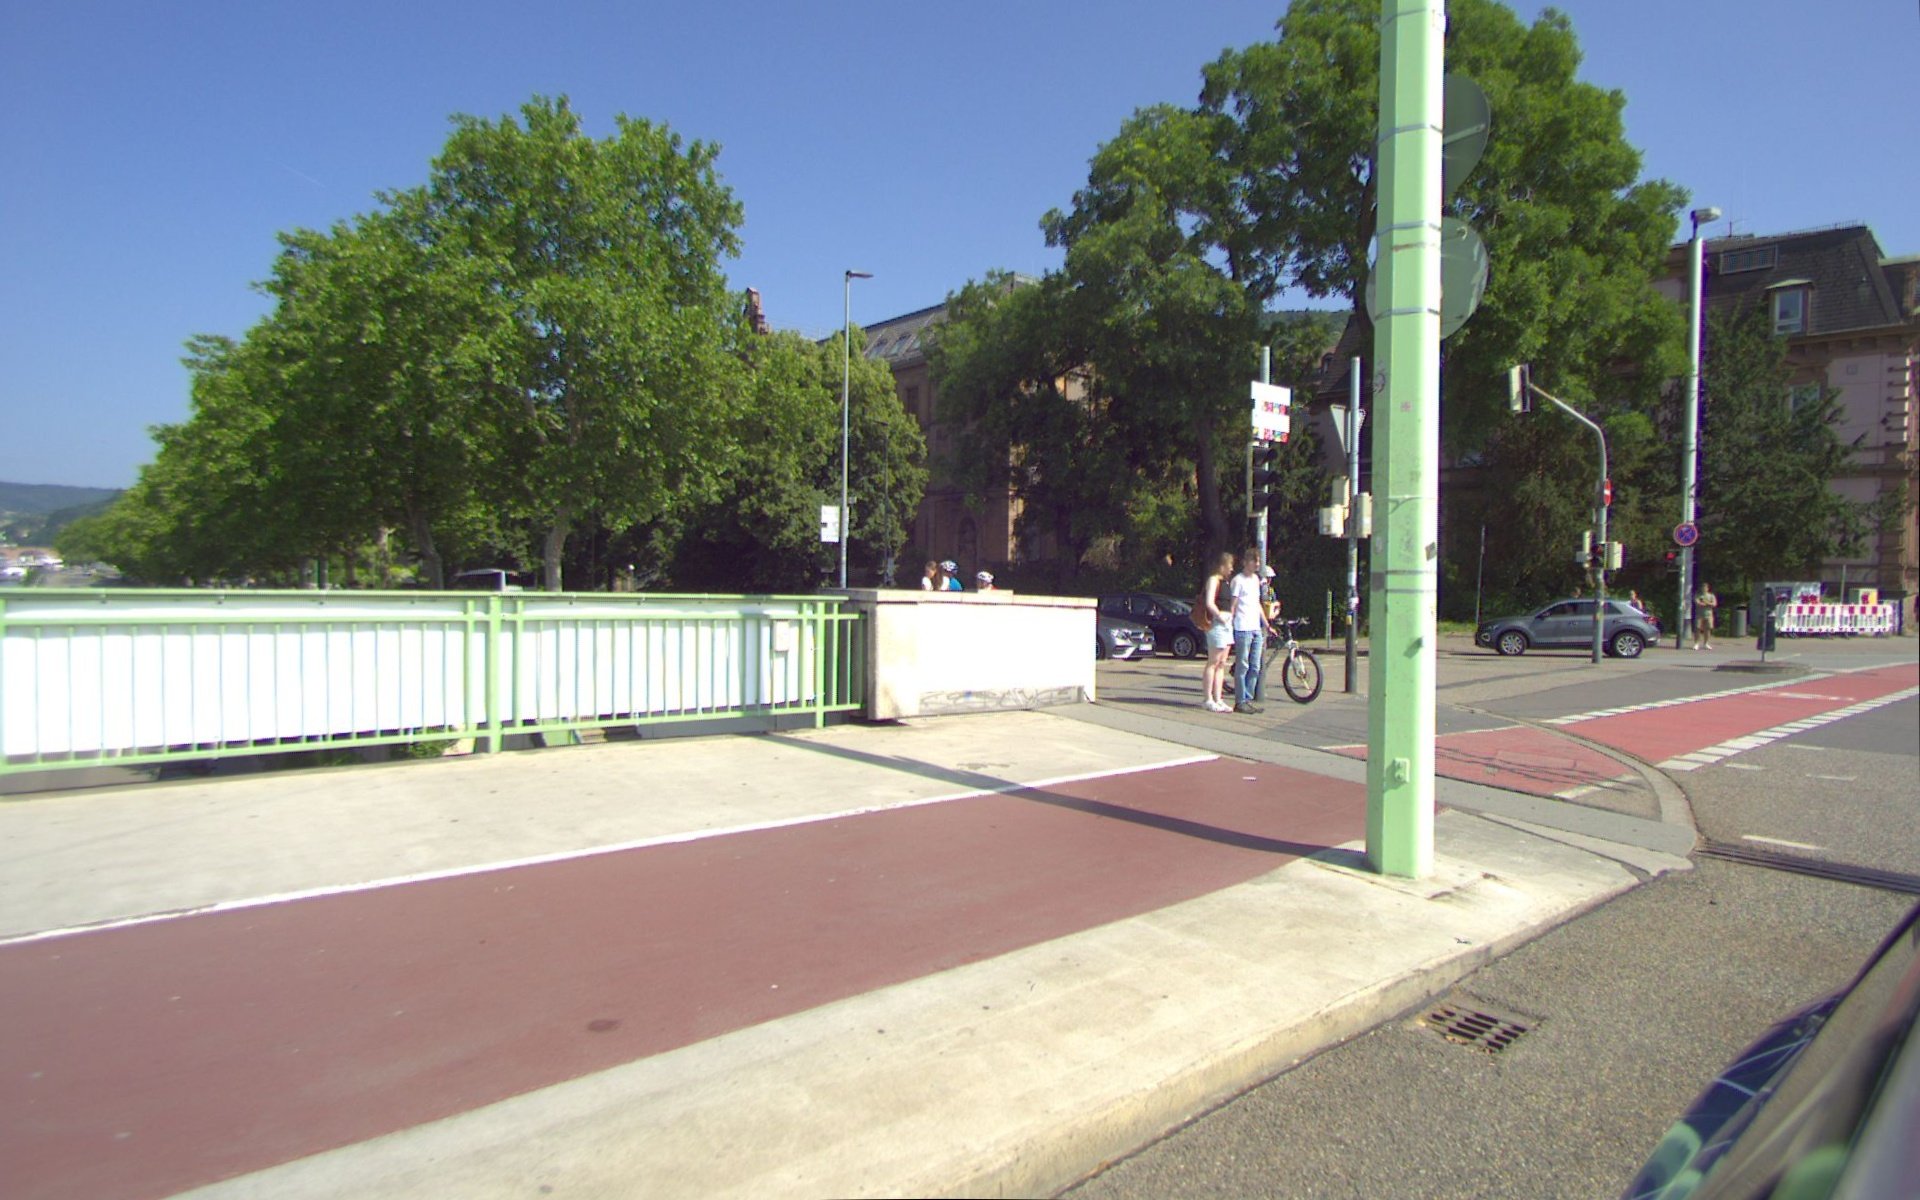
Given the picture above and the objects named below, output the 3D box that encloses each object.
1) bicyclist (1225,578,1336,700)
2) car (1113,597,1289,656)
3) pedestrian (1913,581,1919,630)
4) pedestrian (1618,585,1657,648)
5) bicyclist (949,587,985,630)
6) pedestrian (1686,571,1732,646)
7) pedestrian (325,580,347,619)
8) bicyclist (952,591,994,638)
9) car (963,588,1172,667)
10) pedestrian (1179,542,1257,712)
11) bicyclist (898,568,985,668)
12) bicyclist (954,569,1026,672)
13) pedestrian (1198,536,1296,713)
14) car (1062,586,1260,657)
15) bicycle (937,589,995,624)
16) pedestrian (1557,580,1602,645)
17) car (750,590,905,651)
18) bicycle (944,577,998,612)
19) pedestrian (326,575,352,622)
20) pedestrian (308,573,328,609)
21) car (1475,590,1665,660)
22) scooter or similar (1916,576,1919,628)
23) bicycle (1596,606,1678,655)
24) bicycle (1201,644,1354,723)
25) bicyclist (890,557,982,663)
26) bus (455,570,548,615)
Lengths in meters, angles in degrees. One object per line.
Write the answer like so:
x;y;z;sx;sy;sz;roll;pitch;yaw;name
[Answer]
4.112;0.477;13.025;0.785;1.492;1.083;2;0;-35;bicyclist
6.469;0.676;27.496;4.302;1.375;1.852;2;0;44;car
36.466;0.248;38.029;0.812;1.814;0.802;7;4;45;pedestrian
19.301;0.448;28.823;0.878;1.731;0.675;1;2;-43;pedestrian
0.254;0.307;37.903;1.054;1.573;0.767;3;1;37;bicyclist
21.081;0.227;28.480;1.042;2.038;0.775;1;2;-45;pedestrian
-29.226;-0.017;47.413;0.740;1.797;0.666;2;0;45;pedestrian
0.481;0.536;37.701;1.082;1.699;1.156;1;0;37;bicyclist
2.368;0.556;23.039;4.468;1.412;1.820;4;3;41;car
2.798;0.276;10.985;0.566;1.782;0.535;2;0;-36;pedestrian
-0.297;0.270;15.881;0.909;1.492;1.084;1;0;-31;bicyclist
0.443;0.298;15.390;0.746;1.492;1.085;1;0;-17;bicyclist
3.187;0.253;11.260;0.632;1.879;0.776;2;0;-36;pedestrian
4.873;0.478;24.881;4.467;1.525;1.820;2;0;41;car
0.204;0.236;37.922;2.237;1.179;0.609;3;1;37;bicycle
18.129;0.355;29.615;1.054;1.802;0.693;2;5;37;pedestrian
-3.764;0.527;28.356;4.468;1.466;1.819;2;0;42;car
0.402;-0.209;37.771;1.992;1.241;0.708;1;0;38;bicycle
-24.061;-0.072;39.233;0.740;1.797;0.666;2;0;45;pedestrian
-32.433;-0.441;51.095;0.740;1.797;0.666;2;0;45;pedestrian
15.955;0.625;26.734;3.947;1.535;1.921;3;0;22;car
35.934;0.028;37.433;0.693;2.038;1.078;4;2;44;scooter or similar
19.390;0.851;28.991;2.227;1.219;0.805;-2;5;-23;bicycle
4.044;1.039;13.050;0.554;0.837;1.945;1;0;-35;bicycle
-0.363;0.138;14.926;0.910;1.492;1.084;1;0;-33;bicyclist
-32.781;-0.610;72.113;8.829;2.817;3.060;3;3;44;bus
